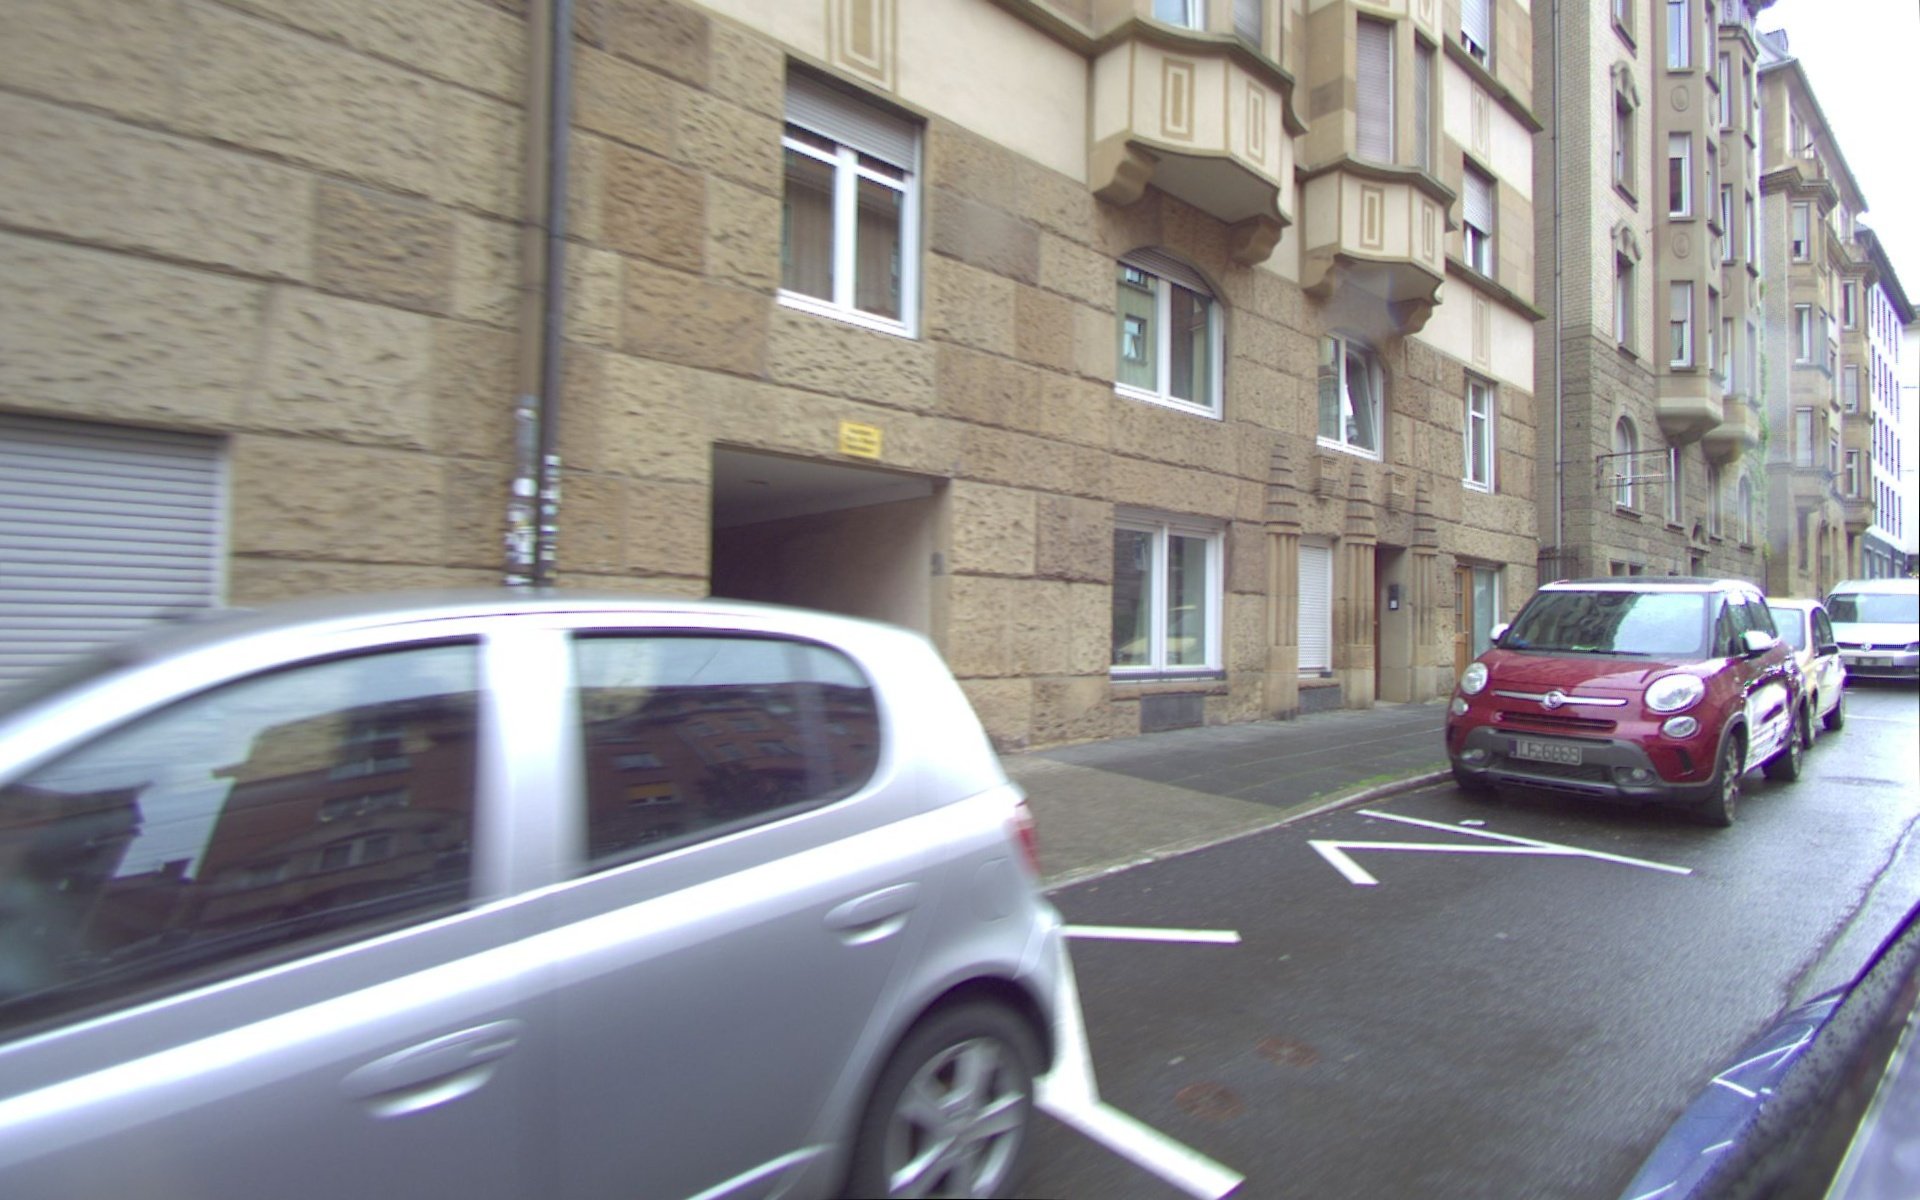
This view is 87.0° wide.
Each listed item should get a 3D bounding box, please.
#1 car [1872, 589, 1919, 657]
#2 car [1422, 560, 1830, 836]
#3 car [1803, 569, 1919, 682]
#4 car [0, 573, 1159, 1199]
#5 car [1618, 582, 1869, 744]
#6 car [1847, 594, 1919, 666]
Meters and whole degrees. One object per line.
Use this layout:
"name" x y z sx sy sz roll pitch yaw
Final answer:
"car" 23.268 0.505 24.006 3.987 1.544 1.933 0 -1 -41
"car" 5.359 0.549 7.940 3.932 1.621 1.772 0 1 -43
"car" 16.315 0.393 17.706 3.893 1.791 1.809 0 0 -41
"car" -1.312 0.708 2.086 3.460 1.505 1.597 0 1 -41
"car" 8.858 0.596 11.349 3.471 1.530 1.630 0 -1 -42
"car" 20.044 0.571 21.016 3.912 1.406 1.929 0 -1 -41
